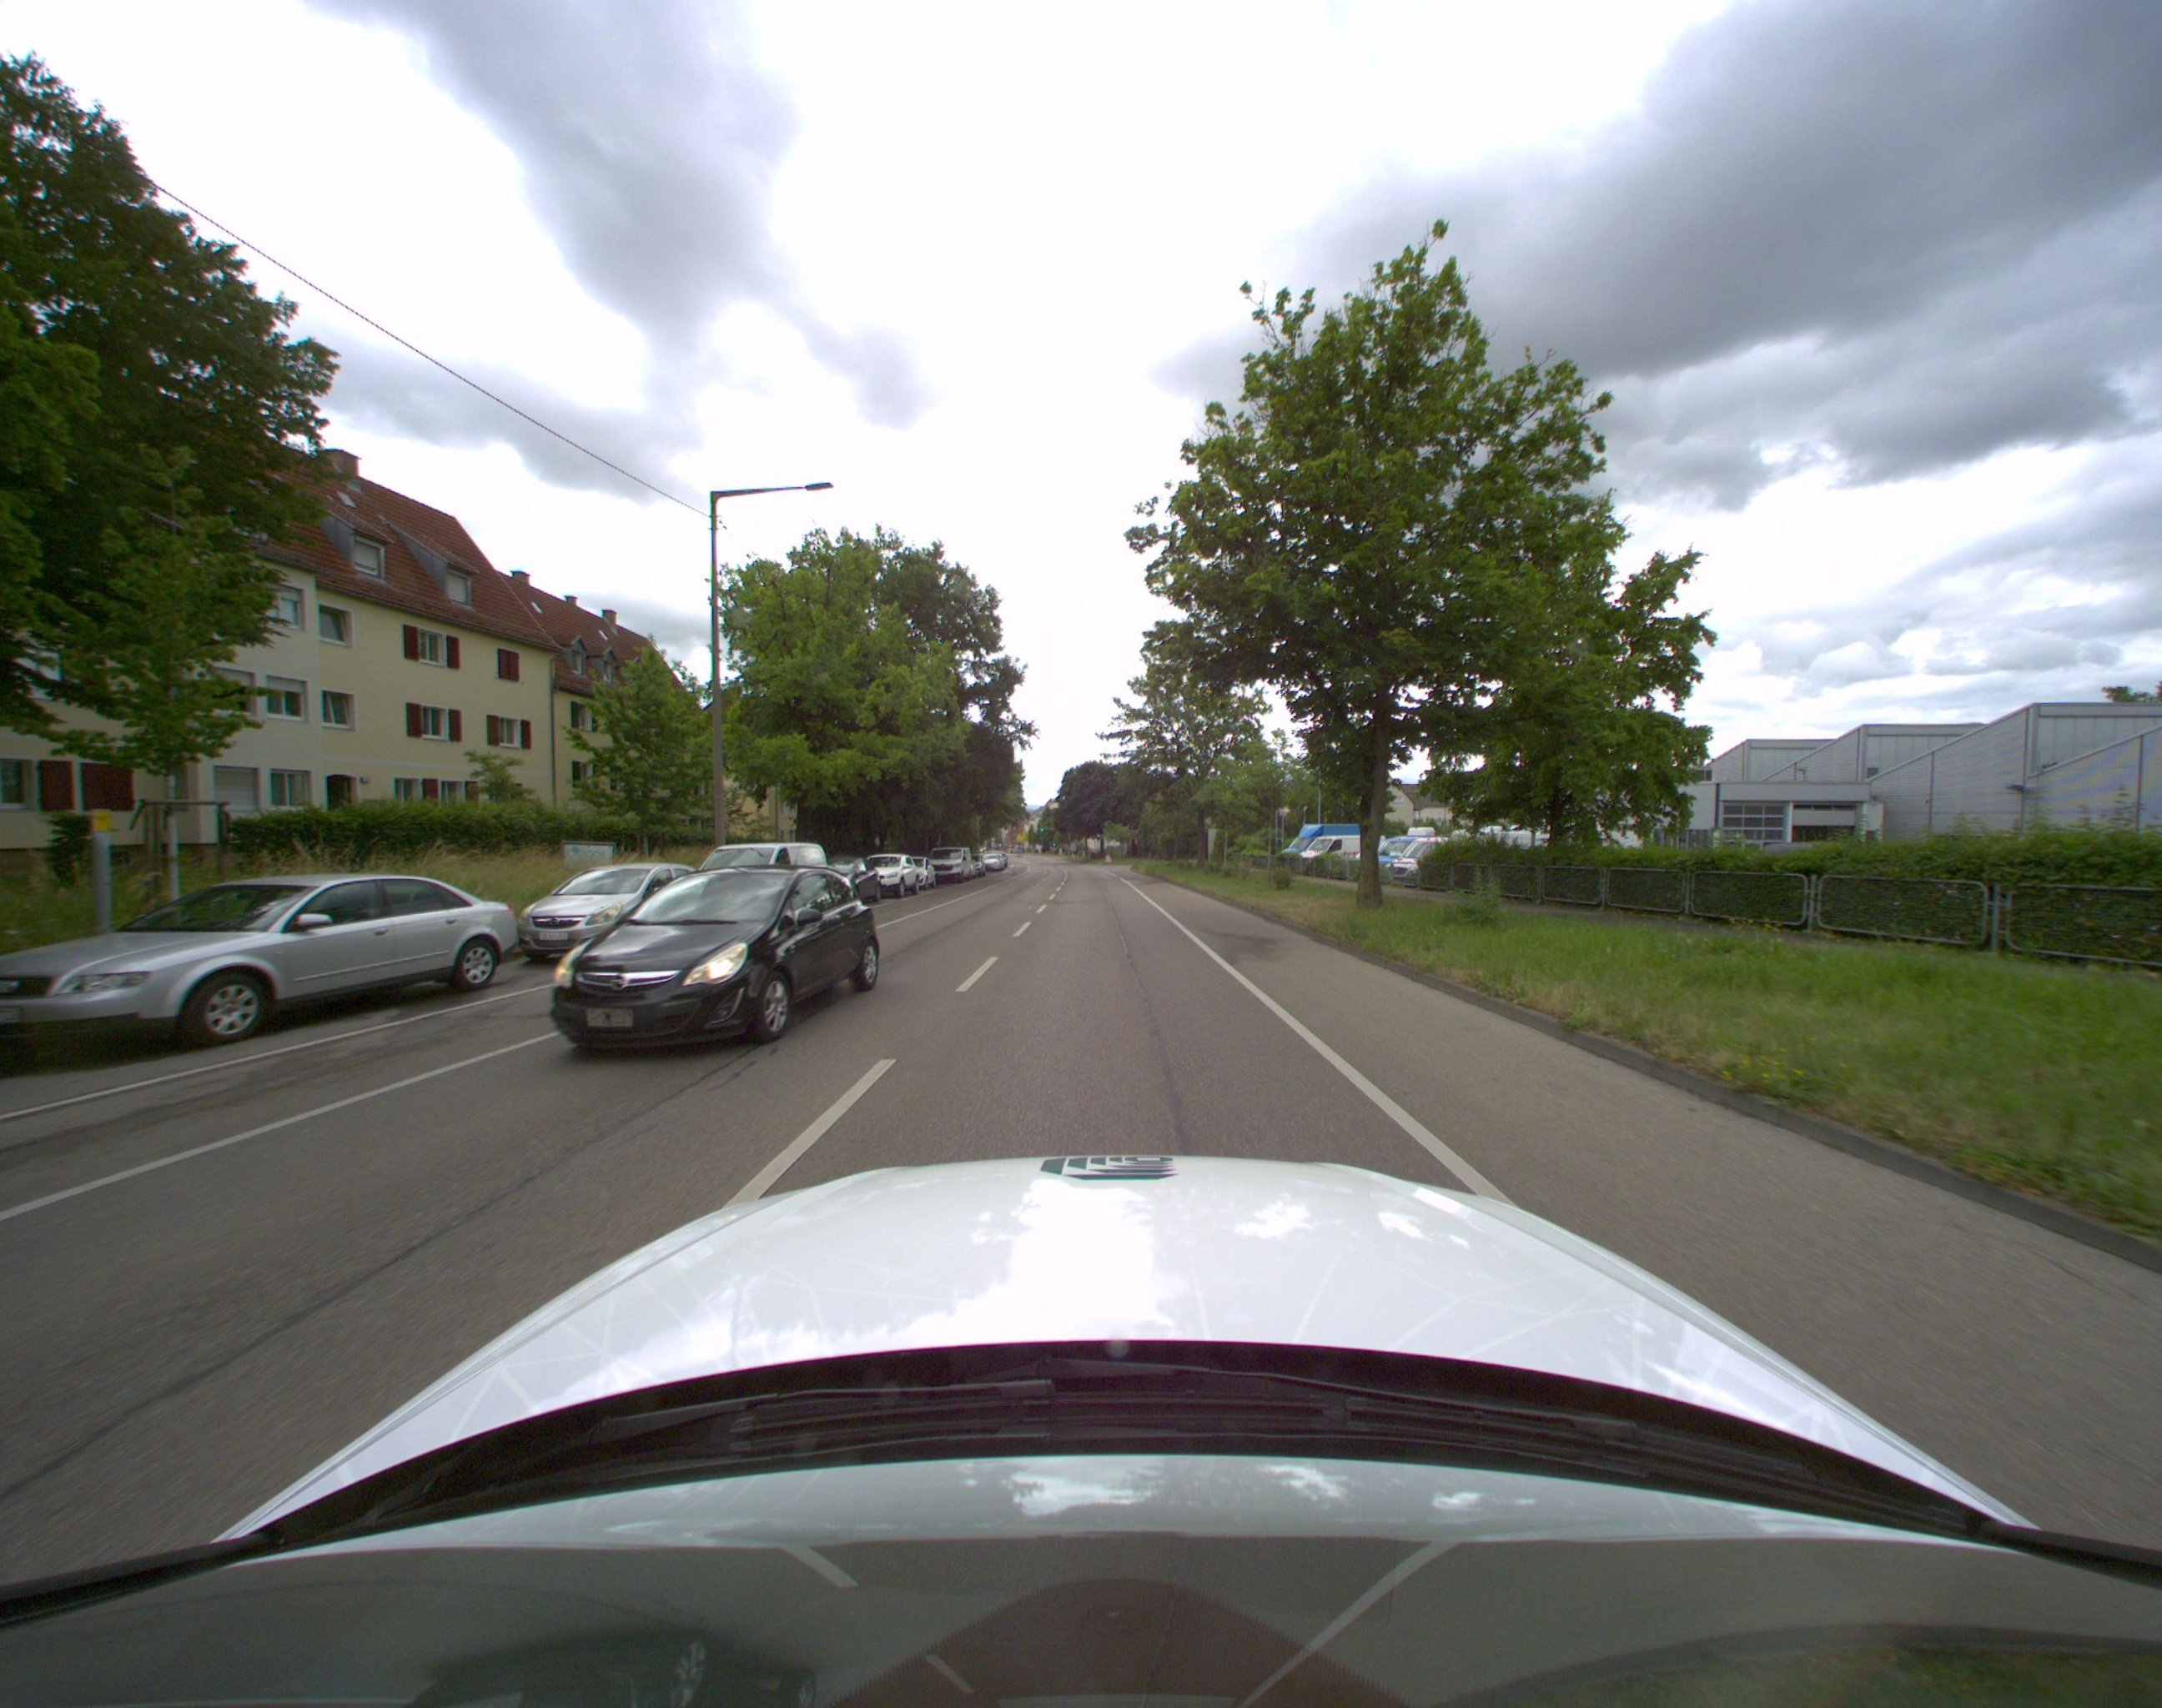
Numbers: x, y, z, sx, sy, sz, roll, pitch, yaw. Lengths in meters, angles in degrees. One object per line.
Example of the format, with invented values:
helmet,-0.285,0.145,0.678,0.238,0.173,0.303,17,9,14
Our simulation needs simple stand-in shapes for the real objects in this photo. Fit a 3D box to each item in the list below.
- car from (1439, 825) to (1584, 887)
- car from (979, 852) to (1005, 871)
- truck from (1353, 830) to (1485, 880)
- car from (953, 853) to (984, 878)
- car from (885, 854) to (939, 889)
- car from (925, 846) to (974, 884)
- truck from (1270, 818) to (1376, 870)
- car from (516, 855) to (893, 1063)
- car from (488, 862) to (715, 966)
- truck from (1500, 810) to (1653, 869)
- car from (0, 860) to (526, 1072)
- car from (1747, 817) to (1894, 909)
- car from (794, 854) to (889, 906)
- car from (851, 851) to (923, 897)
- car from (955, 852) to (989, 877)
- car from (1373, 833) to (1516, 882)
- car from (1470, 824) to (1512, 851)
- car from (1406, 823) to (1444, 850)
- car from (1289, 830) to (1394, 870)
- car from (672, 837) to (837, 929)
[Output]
car,16.204,0.088,30.617,5.269,2.188,2.055,0,0,-24
car,-7.855,0.643,72.328,1.762,1.573,4.757,-1,0,-1
truck,15.896,0.058,38.175,6.267,2.212,2.227,0,0,-27
car,-7.030,0.677,51.121,1.577,1.482,3.717,-1,0,-2
car,-7.591,0.753,36.889,1.657,1.479,4.088,-1,0,-1
car,-7.249,0.573,45.436,1.860,1.963,5.125,-1,0,0
truck,17.100,-0.751,57.530,7.196,3.477,2.598,-1,0,-24
car,-3.216,0.773,7.945,1.631,1.467,4.003,-2,0,3
car,-7.821,0.887,13.768,1.631,1.433,3.947,0,1,-3
truck,31.559,-0.862,52.538,2.854,3.459,9.506,0,0,-11
car,-8.120,0.870,8.262,1.760,1.495,4.360,-2,0,3
car,18.416,0.201,20.223,4.599,2.034,2.048,0,0,-39
car,-7.550,0.768,26.096,1.666,1.488,4.047,-2,0,2
car,-7.277,0.709,30.932,1.668,1.564,4.280,-1,0,0
car,-7.402,0.707,55.684,1.760,1.633,4.157,-1,0,0
car,15.431,0.168,34.523,5.830,1.956,2.057,0,0,-21
car,43.026,-1.773,85.399,2.234,2.676,5.483,0,3,45
car,36.429,-1.833,86.115,2.233,2.676,5.485,0,3,39
car,15.882,-0.214,49.595,6.036,2.367,2.344,0,0,-23
car,-7.650,0.589,19.735,1.761,1.931,5.157,0,1,2
